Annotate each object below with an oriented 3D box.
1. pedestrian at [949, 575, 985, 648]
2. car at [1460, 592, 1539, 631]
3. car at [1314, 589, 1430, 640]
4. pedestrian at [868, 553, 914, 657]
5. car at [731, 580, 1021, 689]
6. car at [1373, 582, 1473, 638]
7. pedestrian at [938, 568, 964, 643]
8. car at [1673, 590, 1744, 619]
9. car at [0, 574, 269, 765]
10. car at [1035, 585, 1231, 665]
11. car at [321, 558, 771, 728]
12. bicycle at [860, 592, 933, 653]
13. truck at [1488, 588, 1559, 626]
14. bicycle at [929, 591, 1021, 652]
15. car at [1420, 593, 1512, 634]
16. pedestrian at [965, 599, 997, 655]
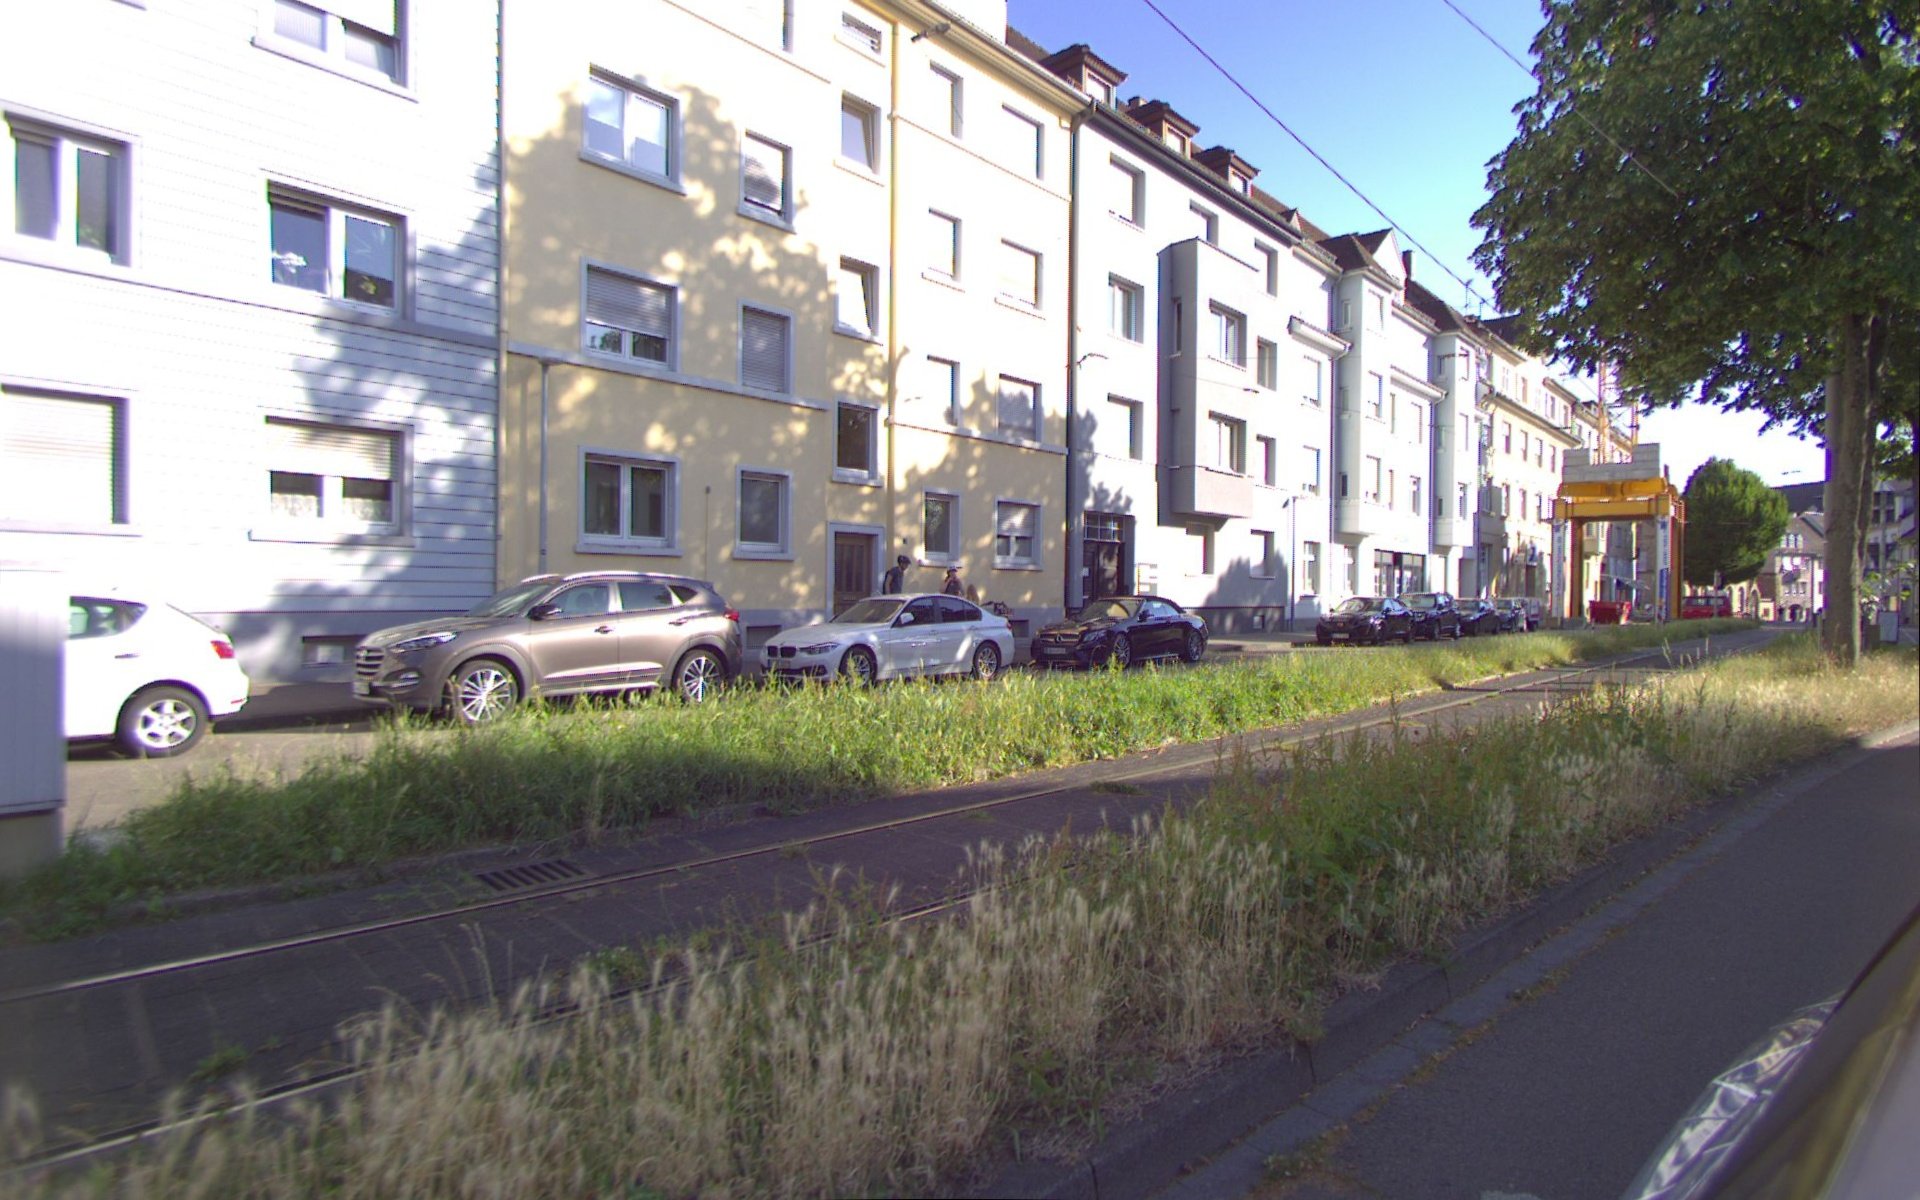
[{"bbox_3d":[0.140,0.227,20.623,0.523,1.458,0.454,2,1,43],"label":"pedestrian"},{"bbox_3d":[22.683,0.465,42.485,1.993,1.470,4.035,3,1,42],"label":"car"},{"bbox_3d":[12.771,0.439,31.223,1.992,1.404,4.379,3,1,41],"label":"car"},{"bbox_3d":[-1.383,0.085,20.327,0.611,2.039,0.640,2,1,42],"label":"pedestrian"},{"bbox_3d":[-1.184,0.478,15.913,1.992,1.404,4.379,3,1,41],"label":"car"},{"bbox_3d":[16.088,0.340,35.074,1.992,1.771,4.146,3,1,41],"label":"car"},{"bbox_3d":[-0.188,0.106,21.196,0.303,1.533,0.438,3,1,34],"label":"pedestrian"},{"bbox_3d":[54.719,0.309,73.988,4.054,1.945,1.971,3,1,40],"label":"car"},{"bbox_3d":[-8.336,0.503,7.967,1.990,1.404,4.384,3,1,38],"label":"car"},{"bbox_3d":[3.672,0.471,20.908,1.992,1.404,4.379,3,1,41],"label":"car"},{"bbox_3d":[-4.697,0.372,12.048,1.992,1.591,4.572,3,2,41],"label":"car"},{"bbox_3d":[-1.257,0.429,20.222,0.534,1.145,1.493,3,2,41],"label":"bicycle"},{"bbox_3d":[26.016,0.328,46.648,1.993,1.605,4.035,3,1,42],"label":"truck"},{"bbox_3d":[0.333,0.412,20.748,0.534,1.145,2.274,3,2,41],"label":"bicycle"},{"bbox_3d":[19.426,0.514,38.807,1.994,1.404,4.142,3,1,44],"label":"car"},{"bbox_3d":[0.417,0.518,19.971,0.431,1.078,0.454,2,1,43],"label":"pedestrian"}]
